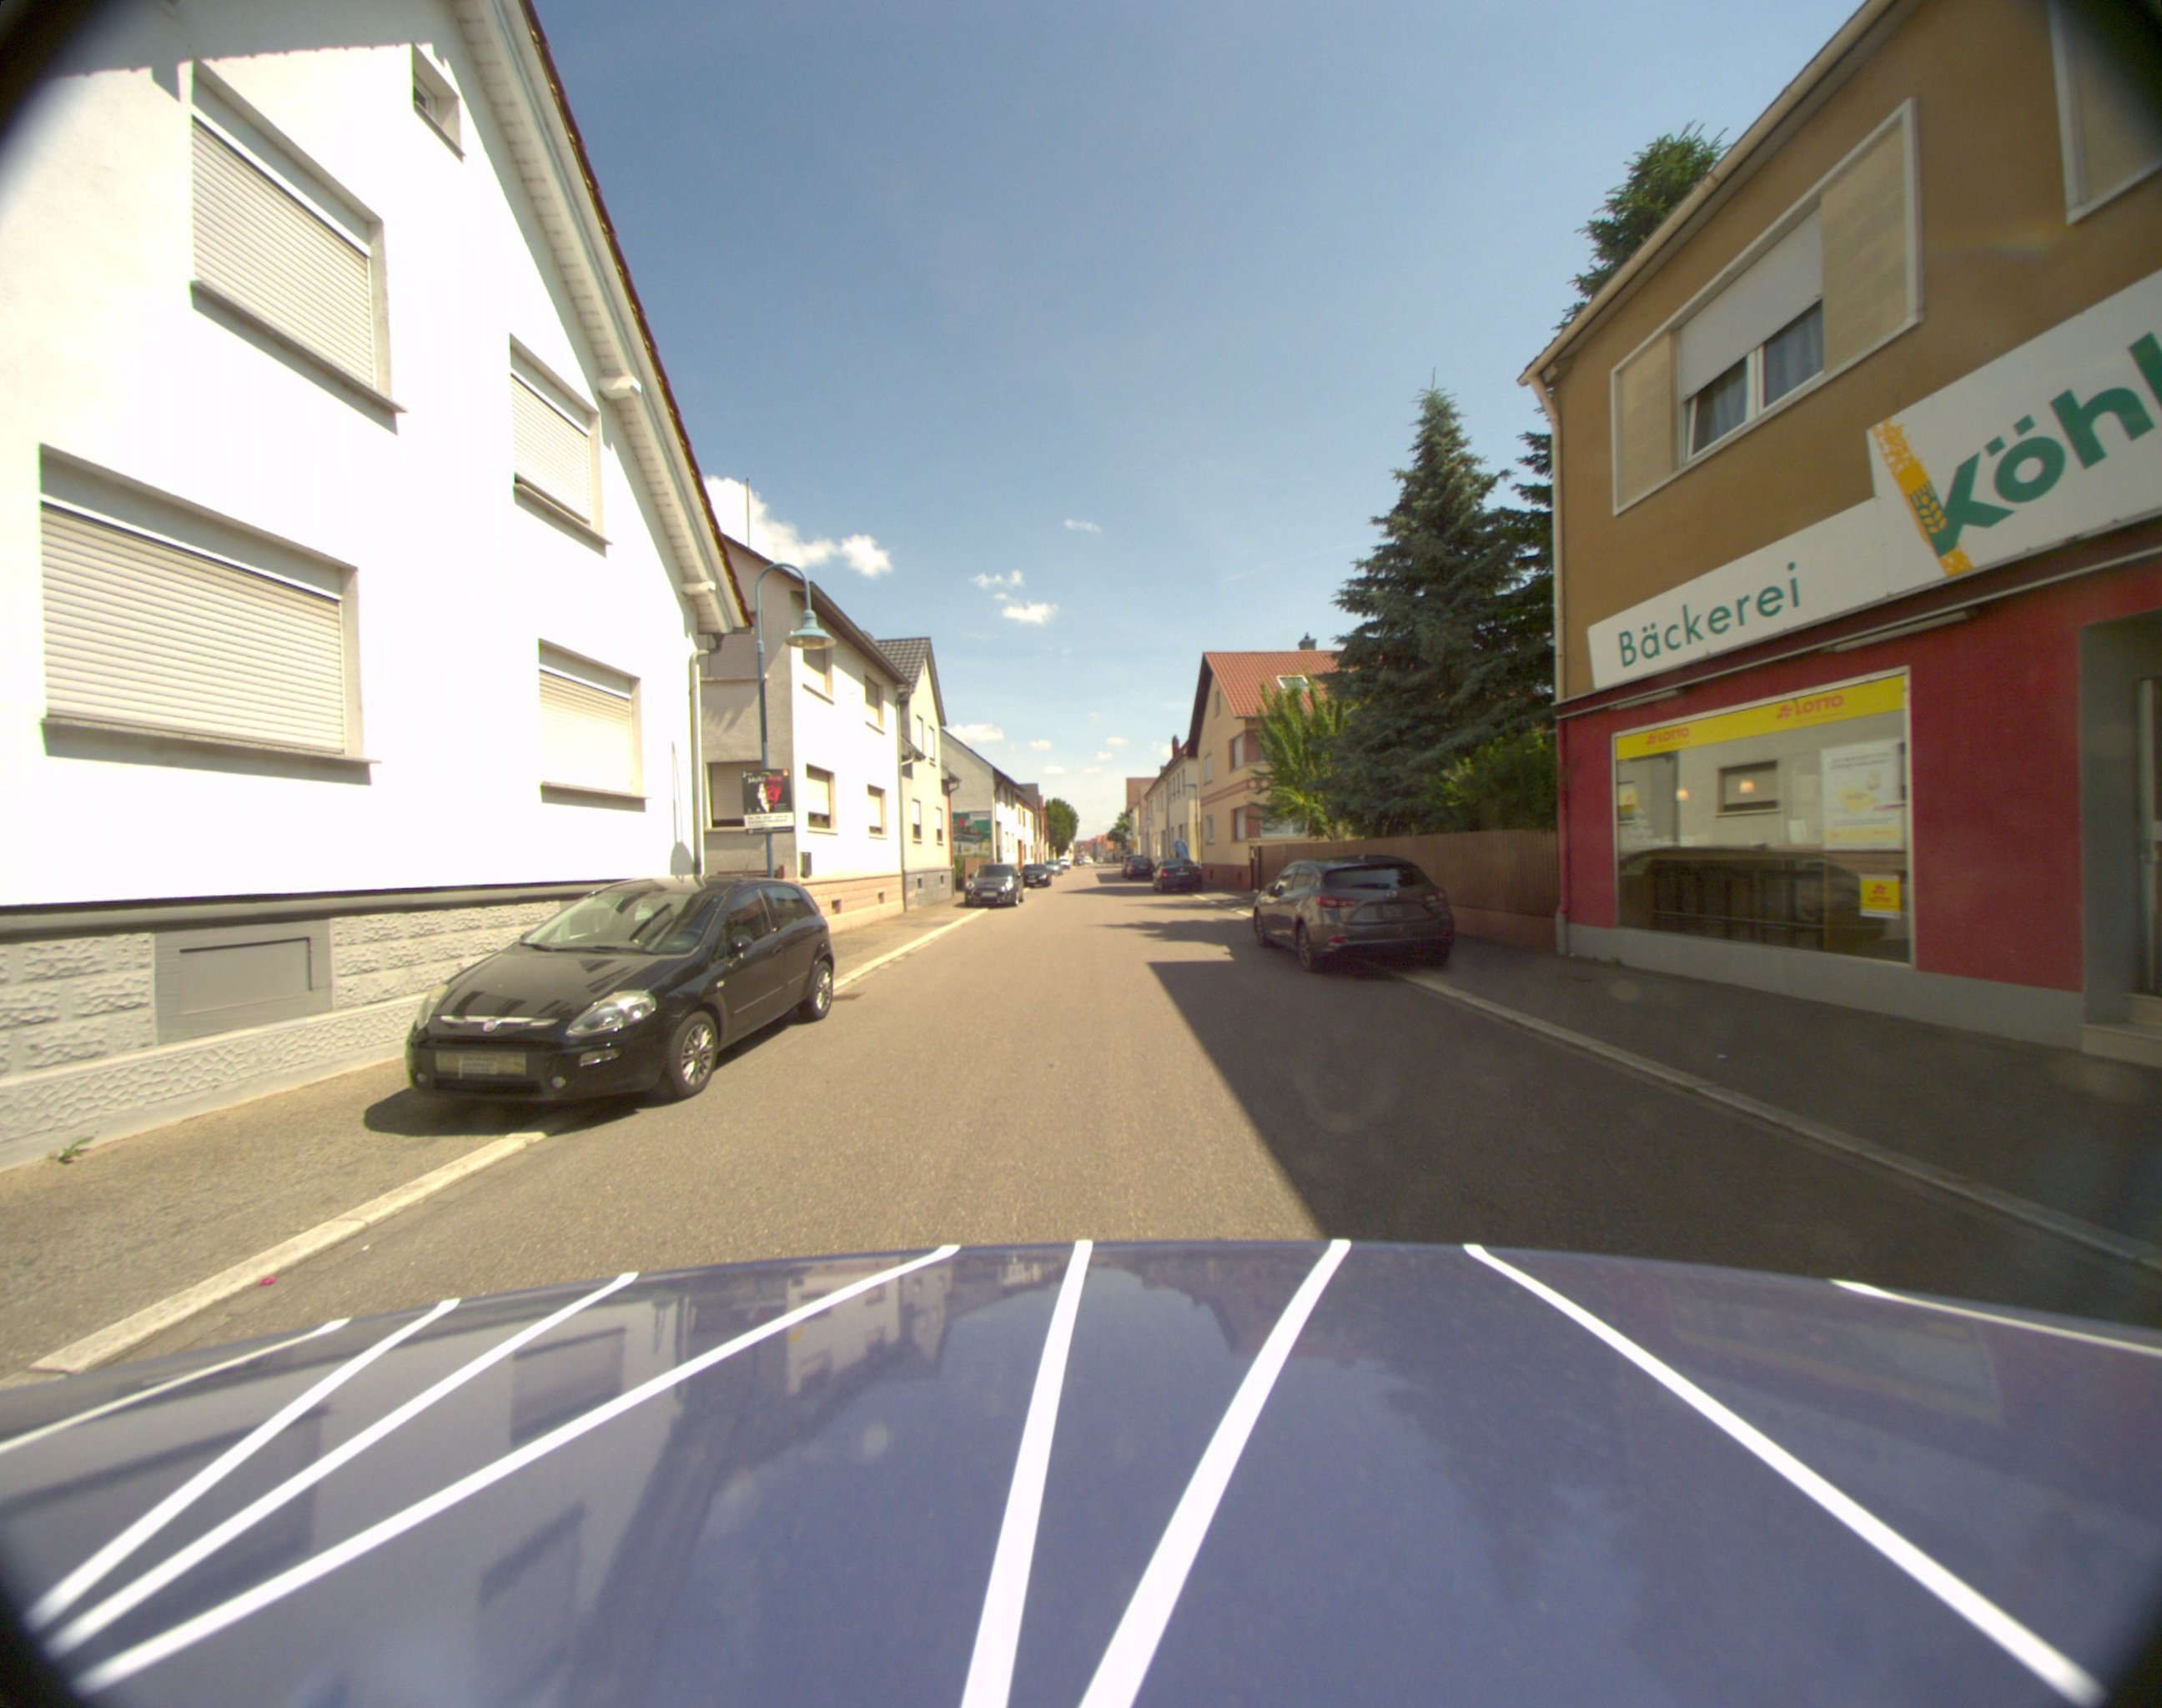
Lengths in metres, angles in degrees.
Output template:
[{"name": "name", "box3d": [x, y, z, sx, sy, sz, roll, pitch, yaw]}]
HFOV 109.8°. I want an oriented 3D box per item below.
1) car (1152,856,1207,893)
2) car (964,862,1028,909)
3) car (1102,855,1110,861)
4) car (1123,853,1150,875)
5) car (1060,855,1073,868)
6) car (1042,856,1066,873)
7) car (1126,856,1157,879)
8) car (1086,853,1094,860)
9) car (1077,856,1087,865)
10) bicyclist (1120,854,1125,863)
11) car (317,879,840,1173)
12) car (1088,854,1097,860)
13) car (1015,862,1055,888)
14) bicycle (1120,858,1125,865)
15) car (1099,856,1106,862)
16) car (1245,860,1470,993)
[{"name": "car", "box3d": [4.082, 0.828, 31.997, 1.766, 1.366, 4.066, -3, 0, 0]}, {"name": "car", "box3d": [-2.818, 1.026, 25.952, 1.692, 1.414, 3.657, -2, 0, 1]}, {"name": "car", "box3d": [6.144, 0.937, 186.425, 1.726, 1.385, 4.171, -2, -2, 2]}, {"name": "car", "box3d": [4.083, 0.719, 56.535, 1.721, 1.630, 4.148, 0, 0, 0]}, {"name": "car", "box3d": [-2.023, 1.058, 107.577, 1.692, 1.831, 4.764, 1, 0, 1]}, {"name": "car", "box3d": [-2.486, 0.980, 71.022, 1.725, 1.473, 3.751, 2, 0, 5]}, {"name": "car", "box3d": [3.951, 0.841, 49.863, 1.702, 1.403, 4.390, -2, 0, 1]}, {"name": "car", "box3d": [2.162, 0.683, 193.897, 1.848, 1.385, 4.169, -2, -2, -2]}, {"name": "car", "box3d": [0.250, 1.152, 143.641, 1.598, 1.533, 4.201, -3, 1, 3]}, {"name": "bicyclist", "box3d": [6.923, 0.748, 126.880, 0.748, 1.627, 0.956, -2, 0, 4]}, {"name": "car", "box3d": [-3.452, 1.033, 6.246, 1.621, 1.487, 3.971, 1, 0, 1]}, {"name": "car", "box3d": [2.747, 0.713, 178.250, 1.848, 1.385, 4.169, -2, -2, -2]}, {"name": "car", "box3d": [-2.514, 1.128, 42.638, 1.820, 1.268, 4.147, -2, 0, 1]}, {"name": "bicycle", "box3d": [6.942, 1.222, 126.865, 0.744, 1.041, 1.940, -2, 0, 4]}, {"name": "car", "box3d": [5.684, 1.385, 201.867, 1.598, 1.385, 4.168, -3, 0, 1]}, {"name": "car", "box3d": [3.670, 0.858, 10.996, 1.772, 1.451, 4.437, -2, 0, 3]}]
